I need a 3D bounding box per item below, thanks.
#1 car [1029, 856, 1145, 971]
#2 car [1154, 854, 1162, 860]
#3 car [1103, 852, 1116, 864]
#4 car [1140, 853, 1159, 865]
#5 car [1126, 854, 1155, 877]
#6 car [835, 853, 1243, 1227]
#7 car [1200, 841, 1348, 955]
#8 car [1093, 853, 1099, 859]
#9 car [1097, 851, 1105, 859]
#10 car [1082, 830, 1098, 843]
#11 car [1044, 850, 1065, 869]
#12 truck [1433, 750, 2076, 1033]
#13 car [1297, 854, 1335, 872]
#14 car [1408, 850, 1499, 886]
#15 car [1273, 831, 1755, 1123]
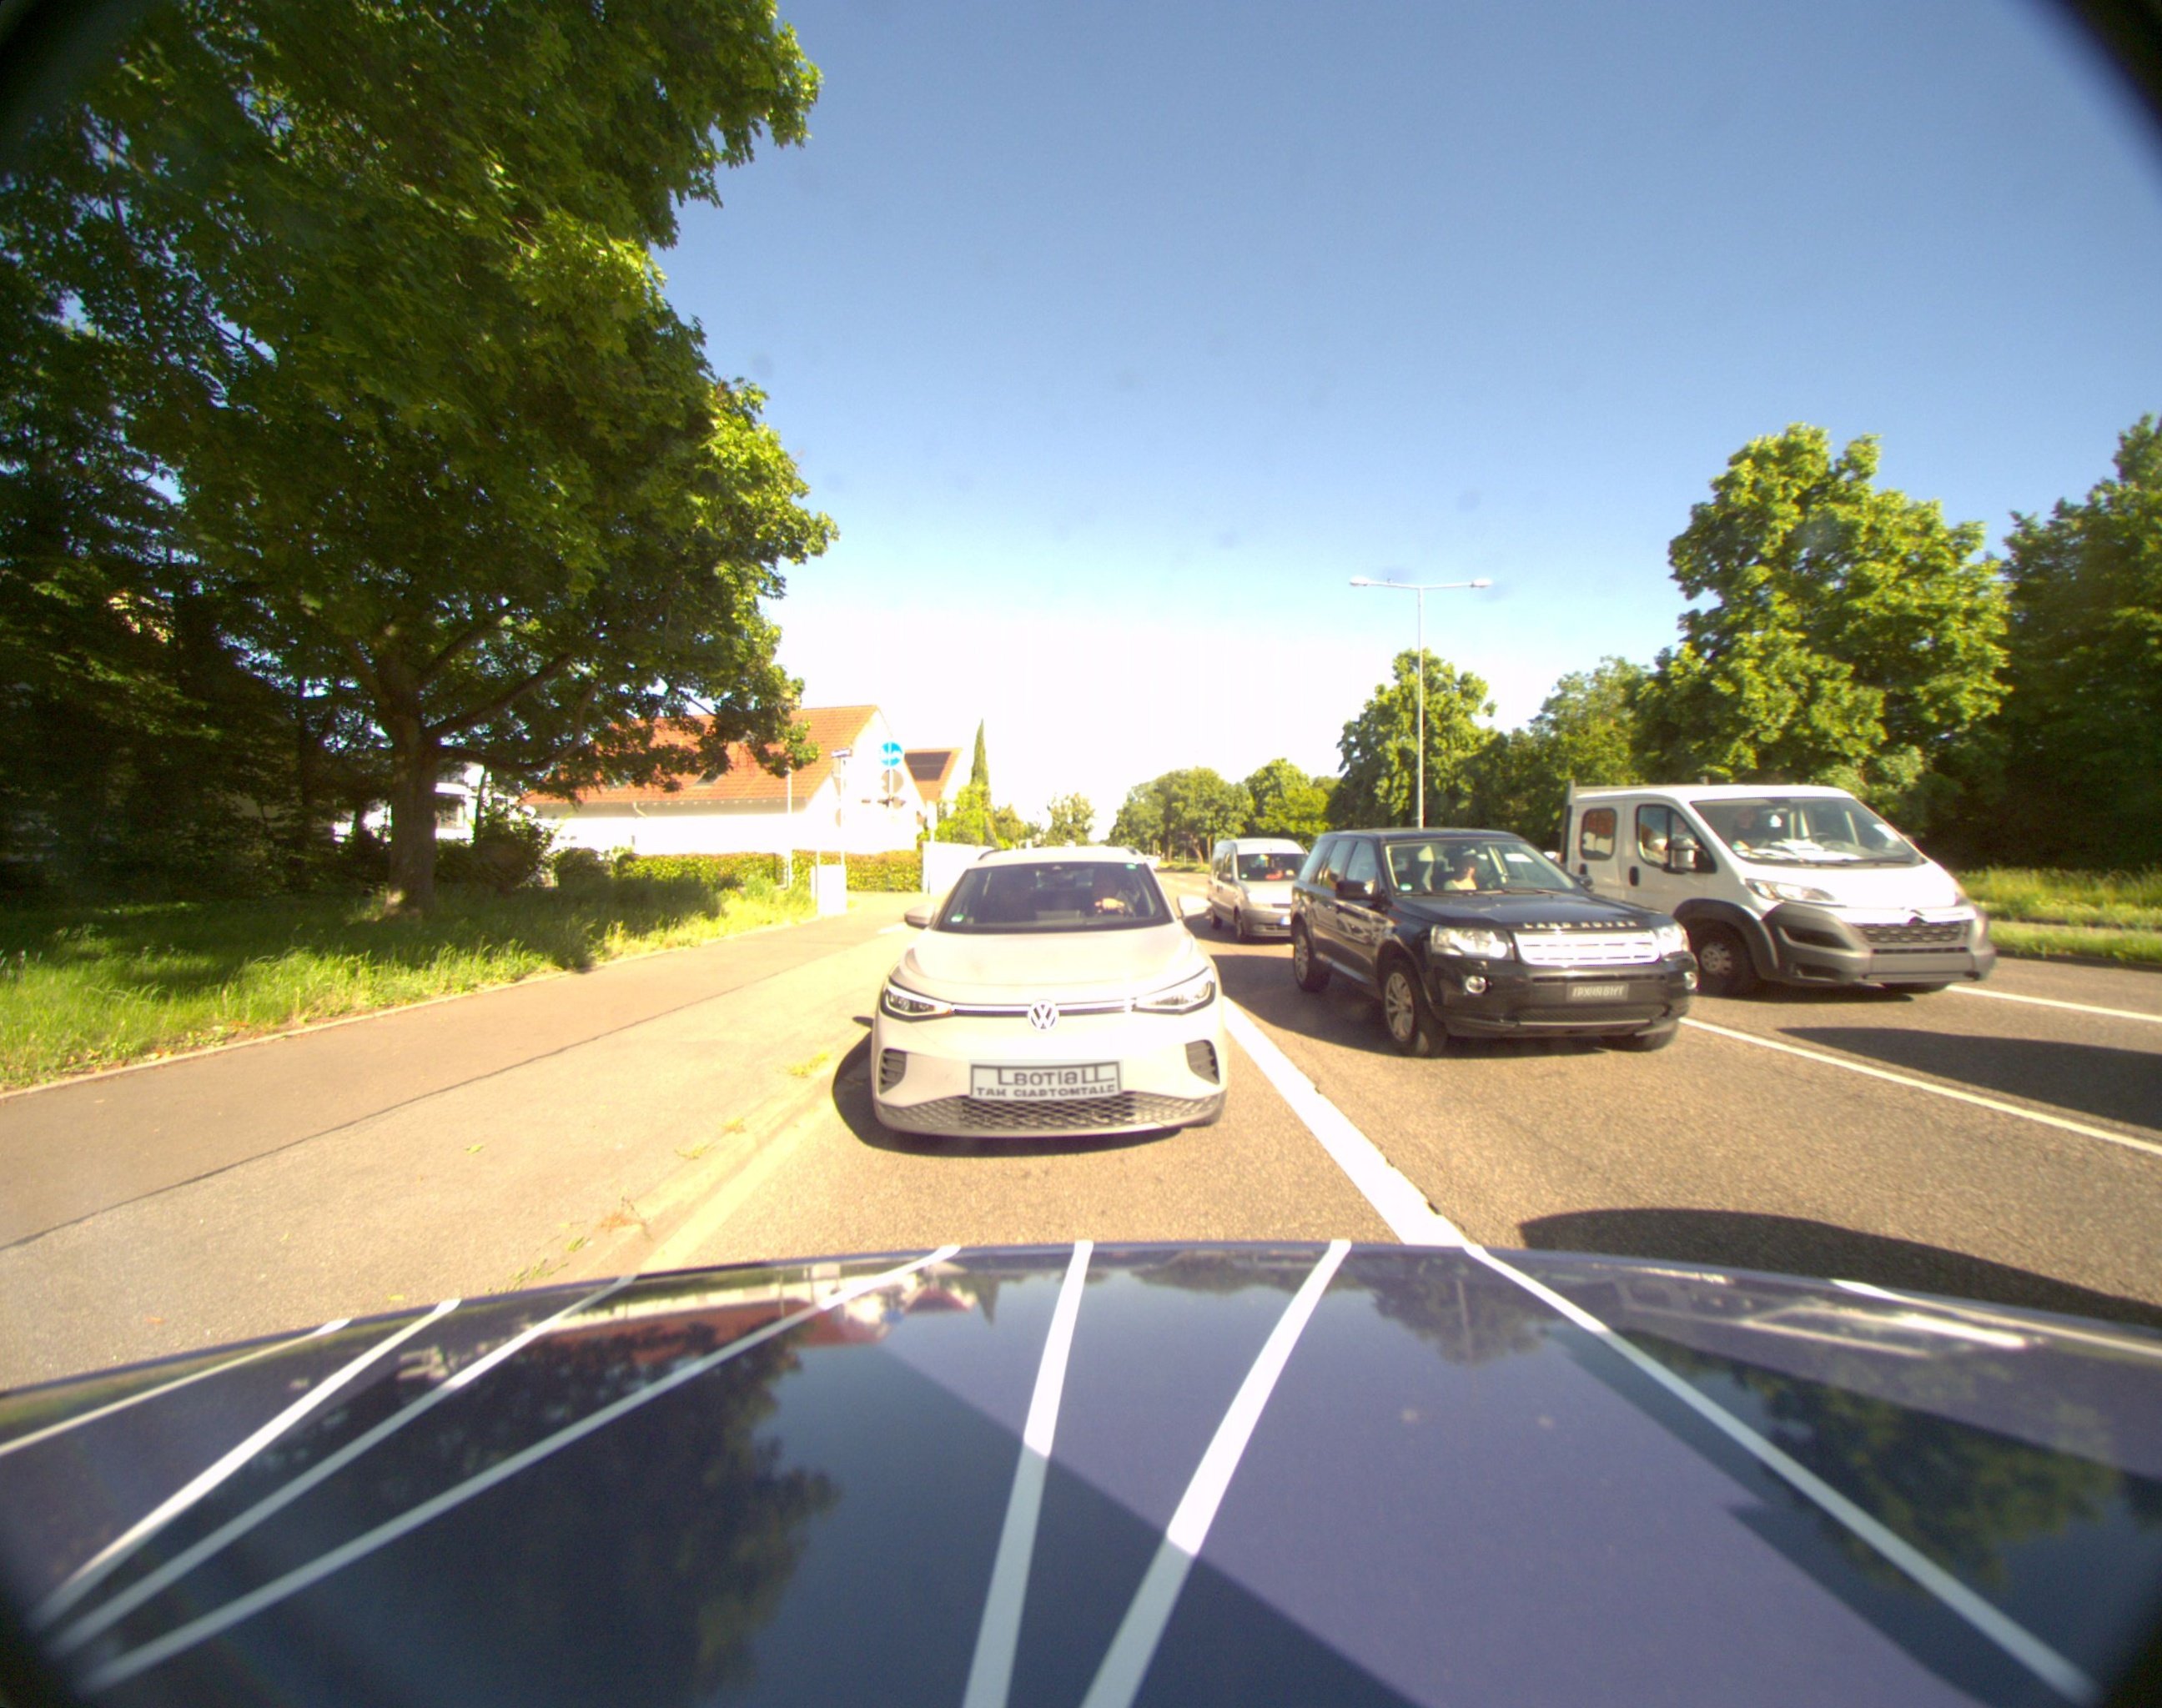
[{"bbox_3d":[0.112,0.869,13.021,1.632,1.586,4.024,-1,1,1],"label":"car"},{"bbox_3d":[21.265,0.787,209.028,1.878,1.674,4.000,0,0,1],"label":"car"},{"bbox_3d":[3.853,0.593,104.522,1.726,1.630,4.000,0,0,1],"label":"car"},{"bbox_3d":[8.033,0.569,88.854,1.727,1.436,3.999,0,0,-2],"label":"car"},{"bbox_3d":[3.993,0.737,51.632,1.630,1.466,3.931,-2,0,0],"label":"car"},{"bbox_3d":[-0.167,0.852,5.577,1.858,1.679,4.206,0,1,1],"label":"car"},{"bbox_3d":[3.328,0.658,13.967,1.632,1.741,4.386,-1,1,1],"label":"car"},{"bbox_3d":[4.268,0.478,214.619,1.726,1.630,4.000,0,0,1],"label":"car"},{"bbox_3d":[4.547,0.189,169.285,1.726,1.630,4.000,0,0,1],"label":"car"},{"bbox_3d":[1.047,-1.924,84.663,1.726,1.392,4.000,0,0,1],"label":"car"},{"bbox_3d":[-2.233,0.460,65.299,1.630,1.523,3.931,-1,0,0],"label":"car"},{"bbox_3d":[7.216,0.275,9.765,2.185,2.307,6.842,-2,1,0],"label":"truck"},{"bbox_3d":[20.066,0.731,65.029,1.893,1.515,4.504,0,0,0],"label":"car"},{"bbox_3d":[15.836,0.567,32.579,1.690,1.425,4.615,0,0,1],"label":"car"},{"bbox_3d":[3.169,0.719,6.772,1.816,1.721,4.386,-1,1,1],"label":"car"}]
